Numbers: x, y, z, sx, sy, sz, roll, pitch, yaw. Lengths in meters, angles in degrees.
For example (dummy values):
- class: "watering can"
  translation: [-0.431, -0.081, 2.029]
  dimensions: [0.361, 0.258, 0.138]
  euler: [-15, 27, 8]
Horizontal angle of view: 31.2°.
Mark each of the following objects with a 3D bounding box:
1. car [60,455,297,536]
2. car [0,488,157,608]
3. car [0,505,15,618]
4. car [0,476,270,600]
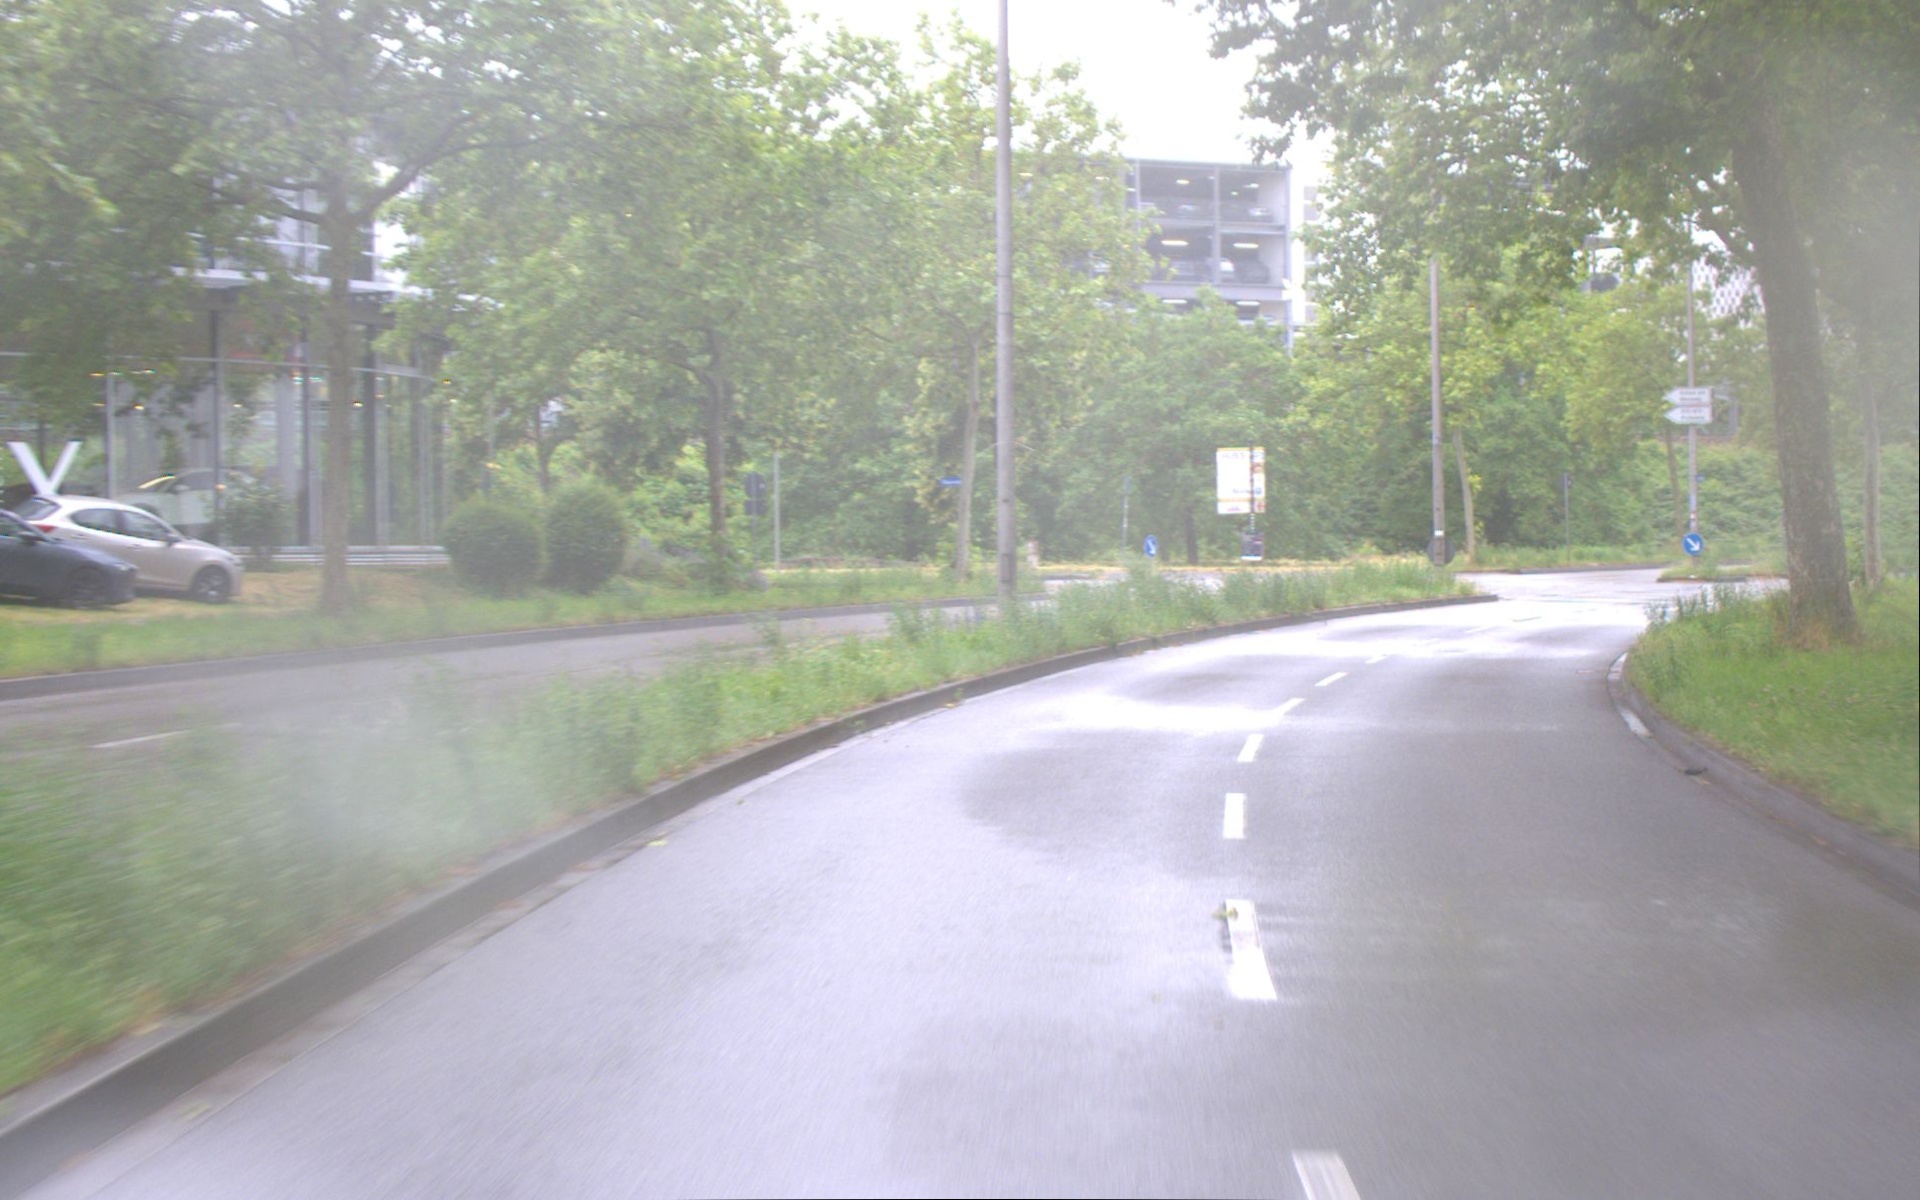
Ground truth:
- class: "car"
  translation: [-14.692, -1.944, 64.765]
  dimensions: [1.783, 1.471, 4.103]
  euler: [1, 2, 41]
- class: "car"
  translation: [-13.910, -0.858, 49.394]
  dimensions: [4.116, 1.417, 1.848]
  euler: [6, 3, -32]
- class: "car"
  translation: [-14.913, -0.750, 45.511]
  dimensions: [4.116, 1.474, 1.848]
  euler: [5, 3, -36]
- class: "car"
  translation: [-13.054, -0.968, 53.614]
  dimensions: [3.988, 1.470, 1.784]
  euler: [5, 4, -41]
